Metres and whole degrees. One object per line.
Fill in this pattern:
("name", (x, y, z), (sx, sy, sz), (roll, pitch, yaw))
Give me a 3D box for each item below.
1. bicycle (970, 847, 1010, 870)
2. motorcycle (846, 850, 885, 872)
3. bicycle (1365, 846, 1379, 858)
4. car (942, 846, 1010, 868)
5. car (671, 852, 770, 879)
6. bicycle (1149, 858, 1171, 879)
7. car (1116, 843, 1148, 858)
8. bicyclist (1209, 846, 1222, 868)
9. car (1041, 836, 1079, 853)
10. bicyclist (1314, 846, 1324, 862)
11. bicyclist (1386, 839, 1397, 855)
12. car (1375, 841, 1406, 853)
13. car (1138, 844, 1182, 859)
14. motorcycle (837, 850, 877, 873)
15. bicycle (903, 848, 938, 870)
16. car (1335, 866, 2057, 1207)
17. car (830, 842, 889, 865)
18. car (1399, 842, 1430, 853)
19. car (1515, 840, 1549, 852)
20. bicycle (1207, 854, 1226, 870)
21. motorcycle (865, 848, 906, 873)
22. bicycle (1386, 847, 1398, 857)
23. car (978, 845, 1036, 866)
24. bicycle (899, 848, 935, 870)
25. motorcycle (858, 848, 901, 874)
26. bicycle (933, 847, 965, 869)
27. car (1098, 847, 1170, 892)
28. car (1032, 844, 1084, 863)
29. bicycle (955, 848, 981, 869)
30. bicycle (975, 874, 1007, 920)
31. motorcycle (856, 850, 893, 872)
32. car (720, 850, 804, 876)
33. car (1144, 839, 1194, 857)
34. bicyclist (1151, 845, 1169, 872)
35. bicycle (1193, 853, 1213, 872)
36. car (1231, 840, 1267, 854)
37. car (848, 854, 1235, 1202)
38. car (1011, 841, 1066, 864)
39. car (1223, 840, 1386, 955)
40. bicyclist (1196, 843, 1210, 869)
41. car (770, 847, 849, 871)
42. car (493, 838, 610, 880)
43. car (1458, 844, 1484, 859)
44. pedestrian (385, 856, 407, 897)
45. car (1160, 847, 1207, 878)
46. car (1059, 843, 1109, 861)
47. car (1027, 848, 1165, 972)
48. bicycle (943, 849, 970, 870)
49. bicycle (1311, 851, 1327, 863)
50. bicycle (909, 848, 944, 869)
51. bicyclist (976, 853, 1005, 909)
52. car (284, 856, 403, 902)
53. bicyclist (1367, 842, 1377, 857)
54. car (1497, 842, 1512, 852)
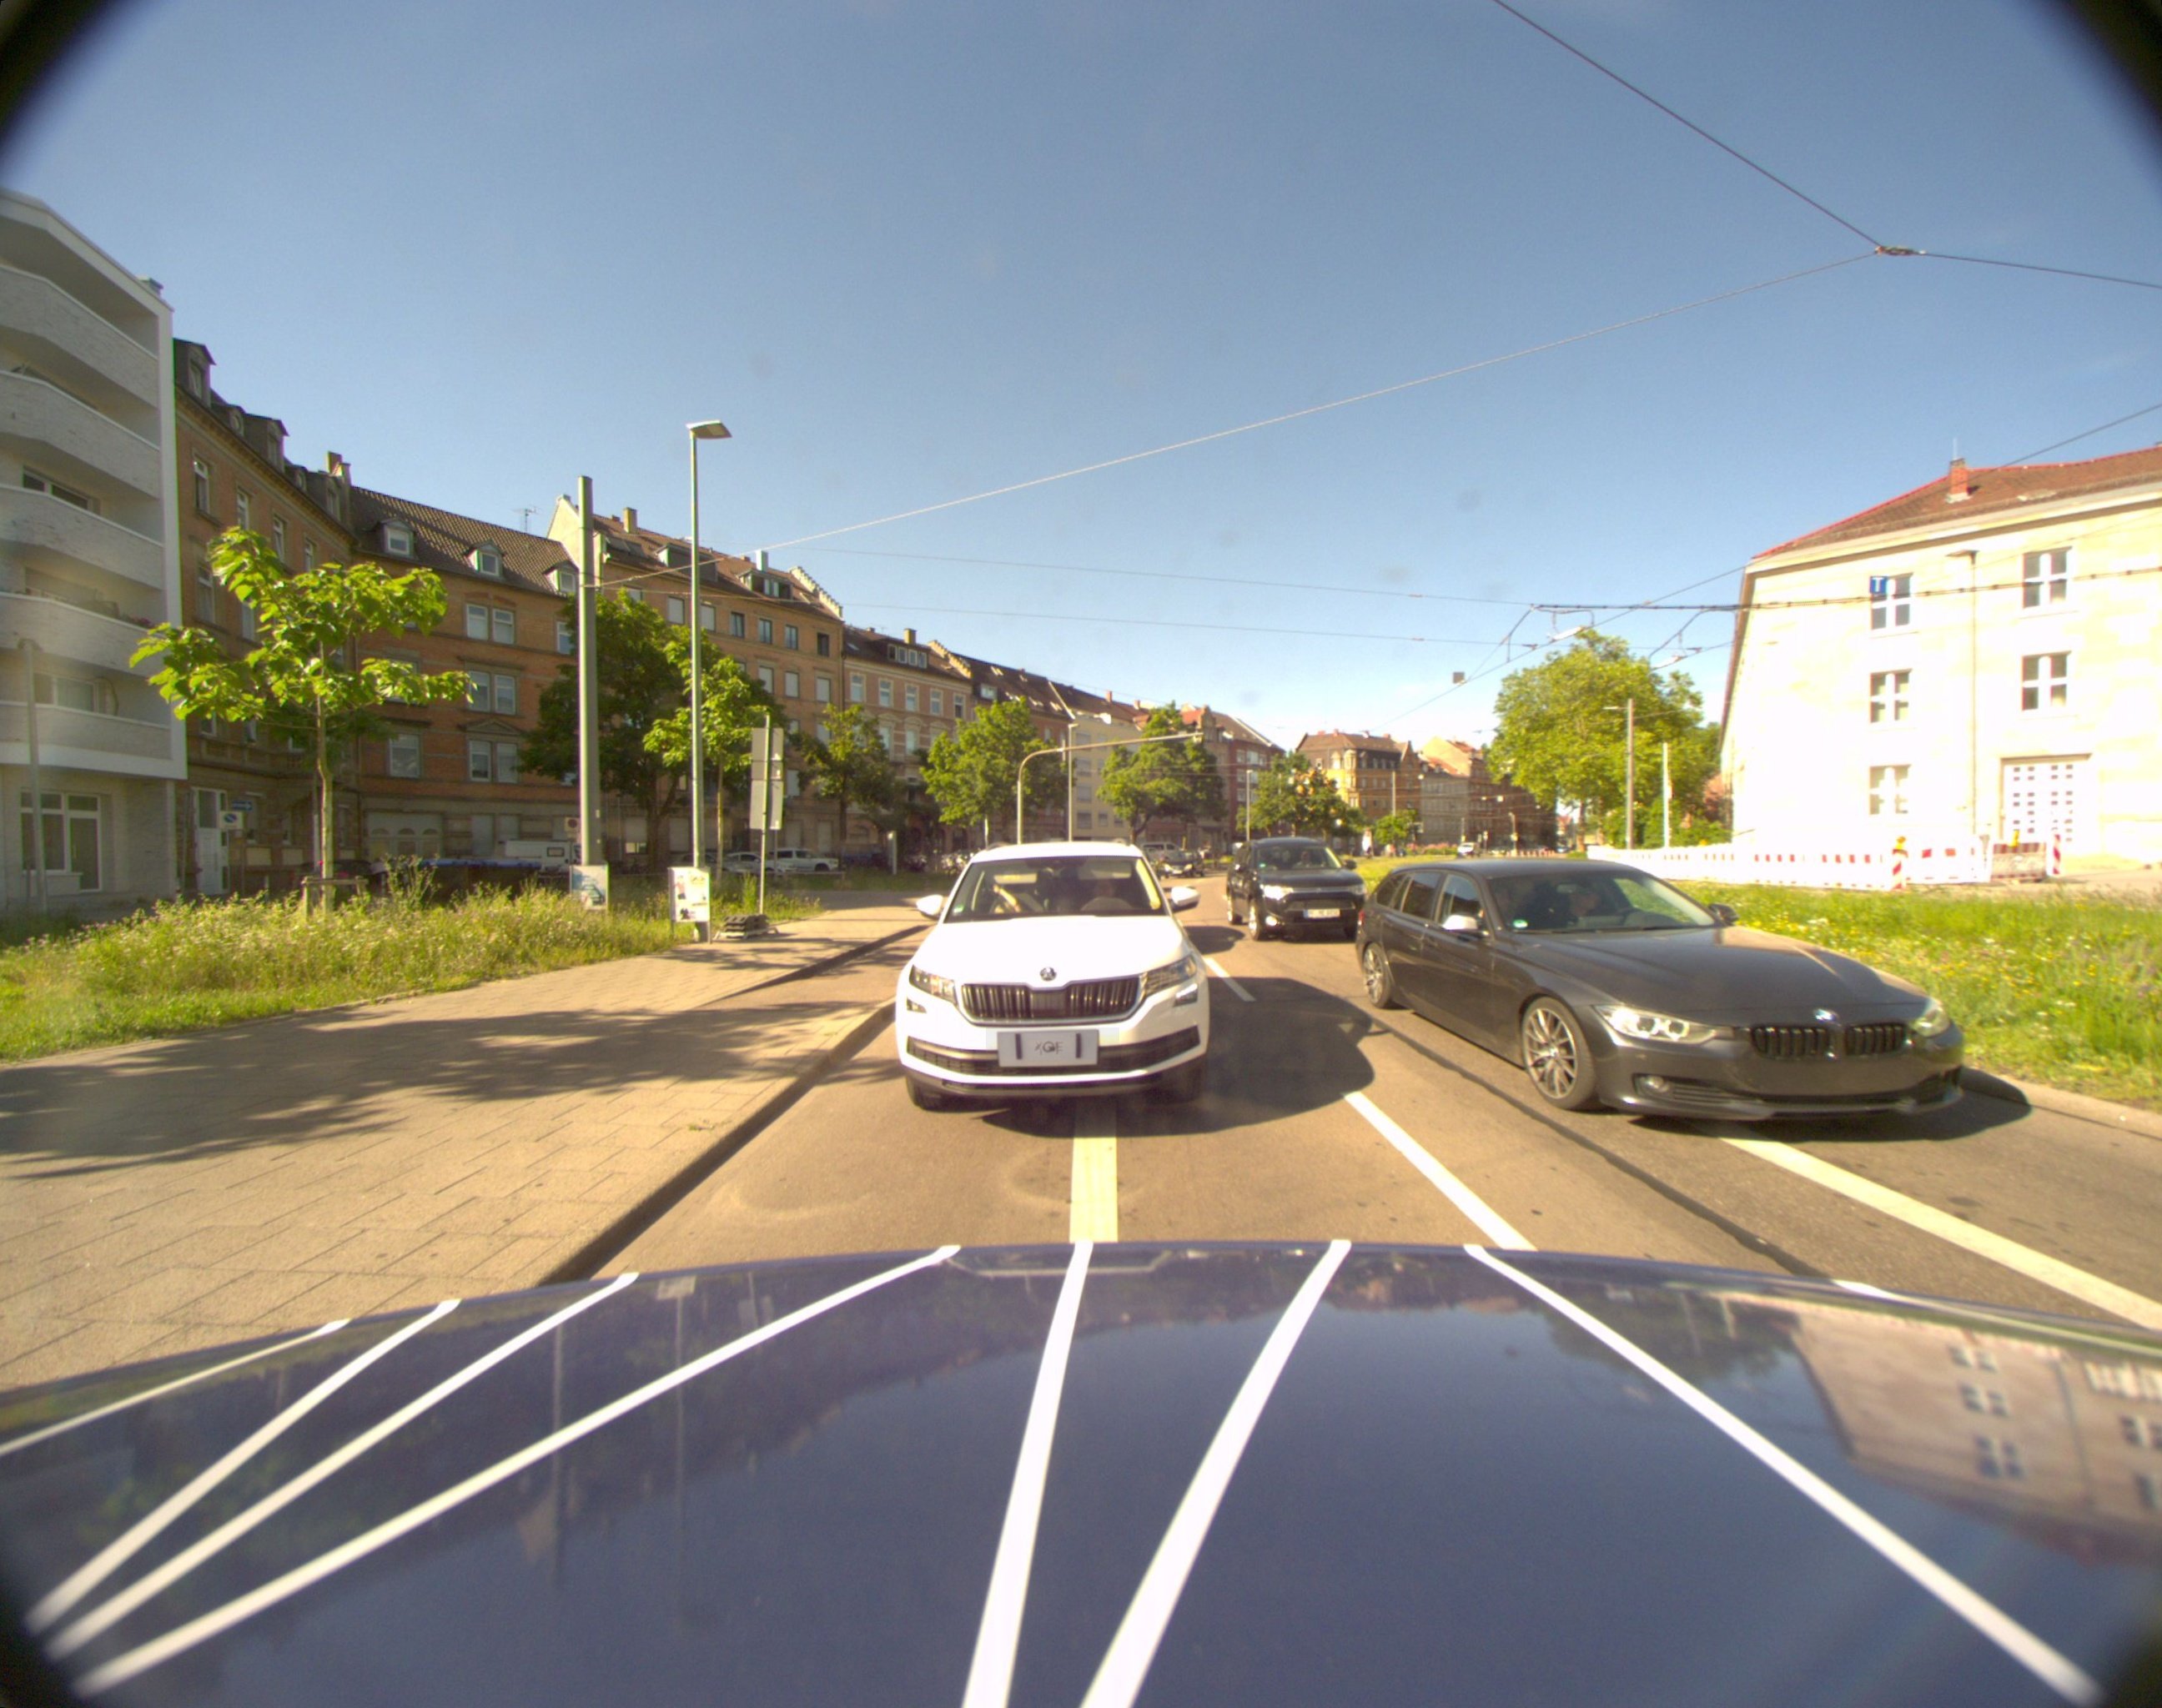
("bicycle", (-5.475, 0.271, 45.737), (2.207, 1.260, 0.662), (-3, 1, -25))
("motorcycle", (-12.939, 0.418, 45.623), (2.314, 1.276, 0.664), (-2, 1, 24))
("bicycle", (33.317, -0.262, 86.952), (0.735, 1.353, 2.079), (0, 1, 44))
("car", (-7.042, 0.179, 51.293), (4.322, 1.398, 1.682), (0, 1, 3))
("car", (-17.499, 0.536, 36.905), (4.156, 1.244, 1.683), (0, 1, 13))
("bicycle", (5.024, 0.926, 48.410), (0.714, 1.319, 1.752), (1, 1, 29))
("car", (5.471, -0.416, 80.725), (1.547, 1.578, 3.607), (1, 2, 41))
("bicyclist", (10.297, 0.223, 58.060), (0.629, 1.619, 0.973), (0, 1, 34))
("car", (-1.937, -0.937, 71.663), (1.547, 1.578, 3.607), (1, 2, 41))
("bicyclist", (23.418, -0.007, 74.797), (0.667, 1.619, 0.973), (0, 1, 39))
("bicyclist", (38.268, -0.888, 93.637), (0.847, 2.002, 1.199), (0, 1, 40))
("car", (49.307, -1.156, 121.005), (4.336, 1.871, 1.844), (1, 2, 35))
("car", (7.128, -0.243, 68.177), (3.823, 1.372, 1.600), (0, 1, 9))
("motorcycle", (-13.288, 0.441, 45.018), (2.314, 1.270, 0.664), (-2, 1, 24))
("bicycle", (-9.705, 0.298, 46.007), (2.198, 1.260, 0.664), (-2, 1, 32))
("car", (3.478, 0.851, 5.592), (1.741, 1.359, 4.426), (-2, 0, 1))
("car", (-15.609, -0.053, 53.669), (1.547, 1.578, 3.709), (1, 2, 41))
("car", (51.223, -1.008, 116.742), (4.058, 1.647, 1.770), (1, 2, 36))
("car", (63.956, -1.185, 107.803), (4.058, 1.647, 1.770), (1, 2, 34))
("bicycle", (10.333, 0.624, 58.078), (0.636, 1.190, 2.158), (0, 1, 33))
("motorcycle", (-11.147, 0.360, 43.292), (2.200, 1.315, 0.664), (-2, 1, 18))
("bicycle", (38.278, -0.221, 93.618), (0.762, 1.138, 2.287), (0, 1, 38))
("car", (-5.226, 0.091, 53.963), (3.822, 1.398, 1.683), (0, 1, 9))
("bicycle", (-9.741, 0.309, 45.069), (2.198, 1.260, 0.664), (-2, 1, 30))
("motorcycle", (-11.177, 0.377, 42.205), (2.200, 1.322, 0.663), (-2, 1, 13))
("bicycle", (-7.728, 0.243, 44.516), (0.664, 1.260, 2.198), (-3, 1, -45))
("car", (2.129, 0.541, 29.260), (1.837, 1.543, 4.153), (0, 1, 18))
("car", (-1.774, -0.050, 58.710), (3.823, 1.398, 1.600), (0, 1, 6))
("bicycle", (-7.121, 0.311, 47.752), (0.664, 1.260, 2.199), (-3, 1, -36))
("bicycle", (-2.357, 1.115, 20.087), (0.669, 1.066, 1.819), (2, 1, -2))
("motorcycle", (-12.601, 0.404, 46.403), (2.199, 1.260, 0.664), (-2, 1, 24))
("car", (-16.406, 0.442, 39.104), (3.696, 1.244, 1.683), (0, 1, 13))
("car", (8.200, -0.583, 70.607), (4.578, 1.658, 1.600), (0, 1, 7))
("bicyclist", (5.034, 0.299, 48.440), (0.714, 1.715, 1.096), (1, 1, 29))
("bicycle", (8.950, 0.629, 55.623), (0.757, 1.293, 2.158), (0, 2, 27))
("car", (18.697, -0.813, 84.656), (3.823, 1.581, 1.600), (0, 1, 6))
("car", (-0.228, 0.856, 5.947), (1.842, 1.636, 4.397), (-2, 0, -1))
("car", (-3.106, -0.133, 56.102), (3.825, 1.698, 1.682), (0, 1, 3))
("car", (3.697, 0.628, 13.396), (1.841, 1.636, 4.399), (-2, 0, 5))
("bicyclist", (8.921, 0.169, 55.651), (0.808, 1.855, 0.751), (0, 3, 27))
("car", (-14.680, 0.258, 41.193), (3.700, 1.244, 1.540), (0, 1, 2))
("car", (-27.117, 0.218, 39.009), (2.047, 2.026, 4.510), (1, 2, 41))
("car", (55.783, -0.397, 108.576), (1.977, 2.074, 4.723), (1, 2, 44))
("pedestrian", (-25.072, 0.816, 27.821), (0.509, 1.448, 0.481), (-3, 2, -38))
("car", (5.971, 0.453, 43.815), (1.836, 1.637, 4.154), (0, 1, 20))
("car", (0.262, -0.155, 61.163), (3.823, 1.398, 1.600), (0, 1, 6))
("car", (0.235, 0.764, 12.606), (1.842, 1.636, 4.397), (-2, 0, 1))
("bicycle", (-7.684, 0.344, 46.758), (0.664, 1.260, 2.199), (-3, 1, -36))
("bicycle", (23.462, 0.296, 74.862), (0.667, 1.190, 2.159), (0, 1, 40))
("bicycle", (-9.509, 0.282, 46.710), (2.198, 1.260, 0.664), (-2, 1, 32))
("bicyclist", (-2.365, 0.697, 20.023), (0.669, 1.428, 0.940), (-1, 1, -3))
("car", (-26.168, 0.830, 27.147), (1.835, 1.419, 4.378), (-1, 1, -27))
("bicyclist", (33.332, -0.555, 86.917), (0.734, 1.685, 0.973), (0, 1, 44))
("car", (68.007, -1.102, 122.035), (1.836, 1.464, 4.722), (1, 1, 31))
